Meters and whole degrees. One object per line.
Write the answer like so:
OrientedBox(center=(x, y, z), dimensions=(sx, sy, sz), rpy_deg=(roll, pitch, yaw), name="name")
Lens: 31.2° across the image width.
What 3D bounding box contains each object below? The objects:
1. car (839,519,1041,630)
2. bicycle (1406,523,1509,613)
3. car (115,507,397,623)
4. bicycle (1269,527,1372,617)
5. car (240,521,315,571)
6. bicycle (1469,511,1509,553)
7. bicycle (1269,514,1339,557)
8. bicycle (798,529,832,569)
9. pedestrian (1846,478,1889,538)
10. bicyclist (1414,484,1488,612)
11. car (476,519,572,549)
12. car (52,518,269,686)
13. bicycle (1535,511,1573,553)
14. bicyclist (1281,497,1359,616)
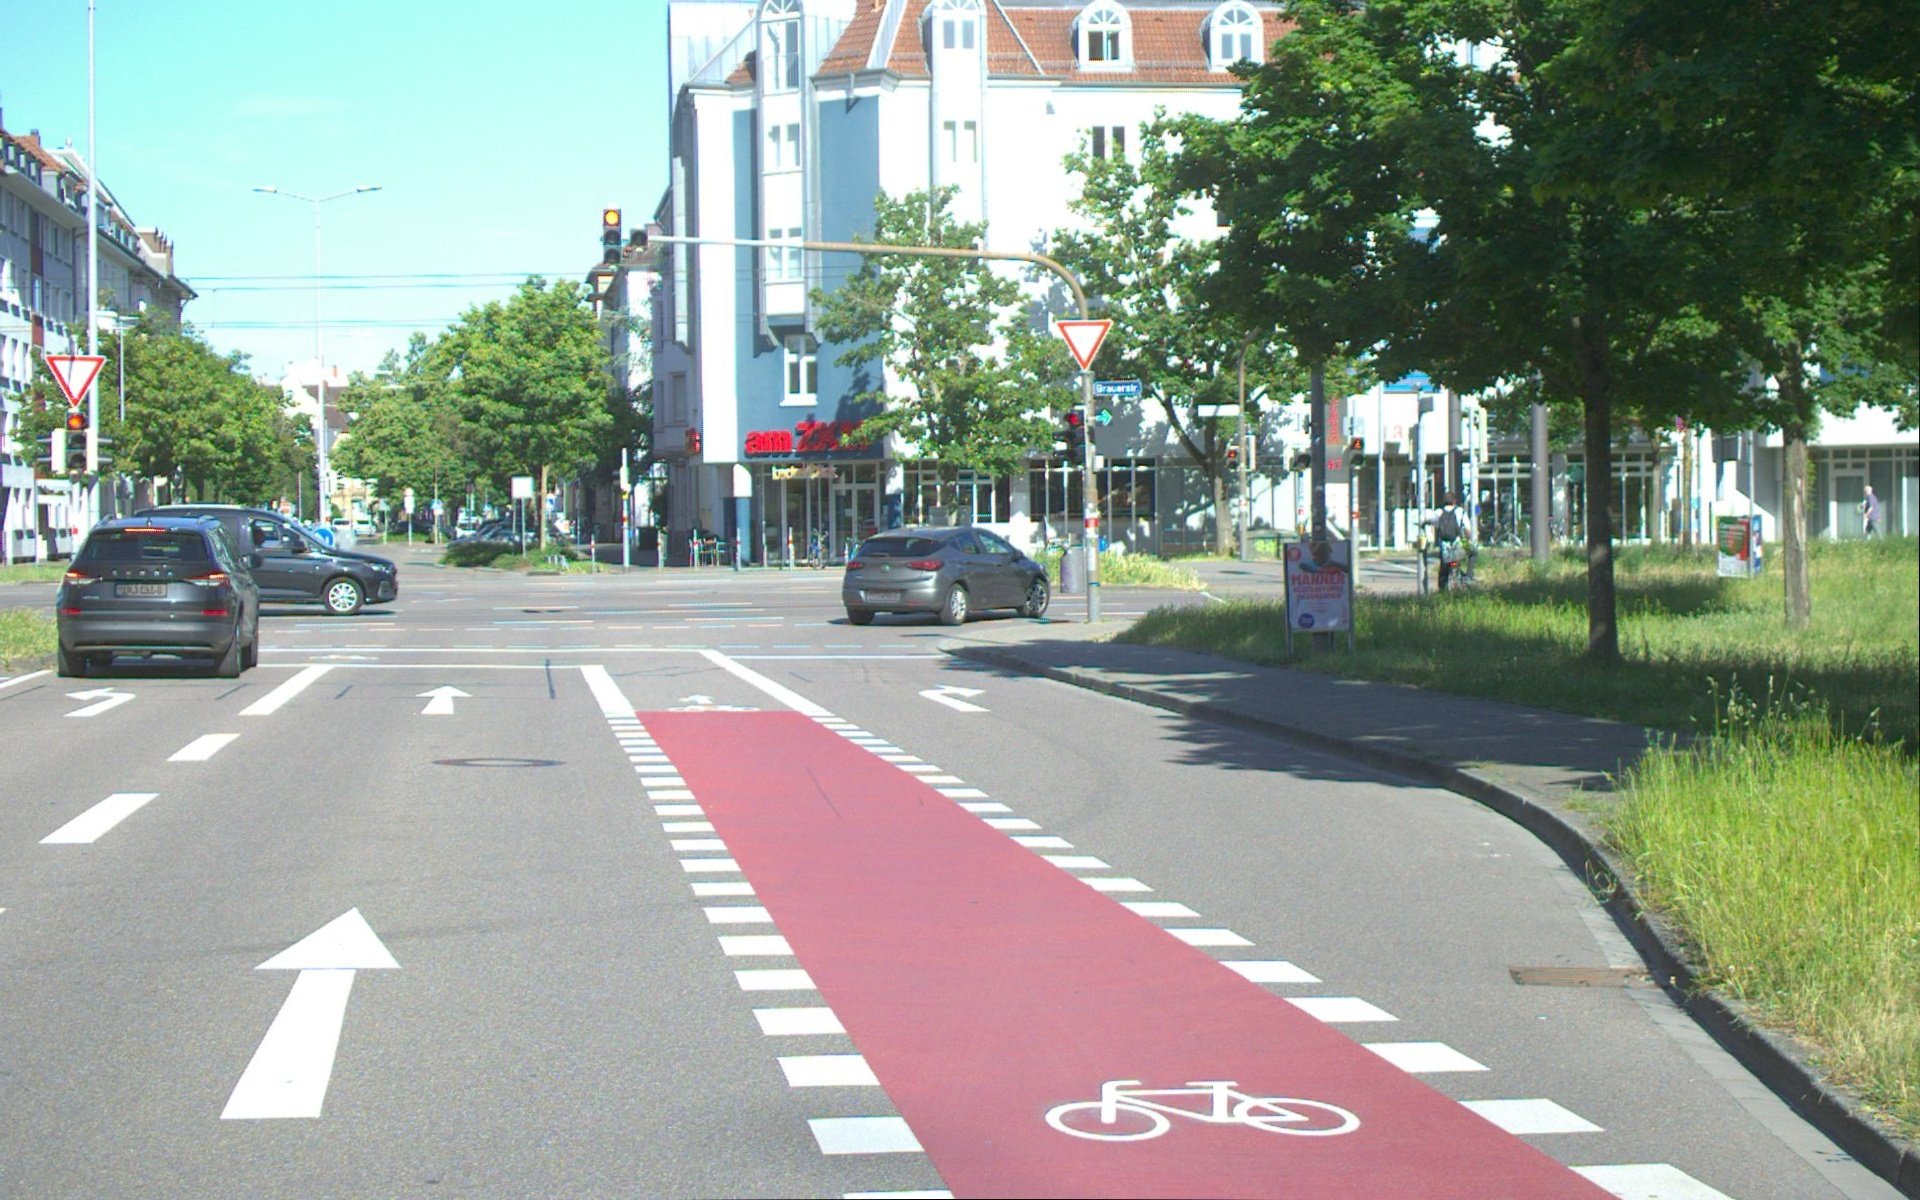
OrientedBox(center=(-0.258, -0.383, 52.160), dimensions=(1.690, 1.572, 3.867), rpy_deg=(2, 1, 22), name="car")
OrientedBox(center=(7.798, -0.513, 53.834), dimensions=(0.791, 1.343, 2.259), rpy_deg=(0, 2, 30), name="bicycle")
OrientedBox(center=(-11.702, -0.585, 57.290), dimensions=(4.481, 1.794, 1.765), rpy_deg=(1, 1, -11), name="car")
OrientedBox(center=(5.646, -0.448, 53.734), dimensions=(0.791, 1.343, 2.075), rpy_deg=(0, 2, 30), name="bicycle")
OrientedBox(center=(-20.147, -1.597, 101.566), dimensions=(1.688, 1.427, 4.401), rpy_deg=(2, 1, -5), name="car")
OrientedBox(center=(15.215, -1.954, 98.927), dimensions=(0.560, 1.178, 1.870), rpy_deg=(-1, 1, -9), name="bicycle")
OrientedBox(center=(9.703, -1.813, 96.978), dimensions=(1.863, 1.178, 0.562), rpy_deg=(-1, 1, -12), name="bicycle")
OrientedBox(center=(-3.749, -1.326, 88.771), dimensions=(0.471, 1.023, 1.517), rpy_deg=(-2, 2, -19), name="bicycle")
OrientedBox(center=(25.925, -2.628, 98.226), dimensions=(0.989, 1.717, 0.654), rpy_deg=(-1, 1, -9), name="pedestrian")
OrientedBox(center=(7.662, -0.815, 53.605), dimensions=(0.791, 1.952, 1.009), rpy_deg=(0, 1, 30), name="bicyclist")
OrientedBox(center=(-17.807, -2.690, 140.399), dimensions=(3.566, 1.219, 1.731), rpy_deg=(0, 0, -19), name="car")
OrientedBox(center=(-8.389, -0.017, 36.387), dimensions=(1.753, 1.622, 4.479), rpy_deg=(1, 1, -7), name="car")
OrientedBox(center=(17.090, -1.954, 98.994), dimensions=(0.560, 1.178, 1.870), rpy_deg=(-1, 1, -6), name="bicycle")
OrientedBox(center=(5.620, -0.687, 53.671), dimensions=(0.791, 1.818, 1.133), rpy_deg=(0, 1, 30), name="bicyclist")
